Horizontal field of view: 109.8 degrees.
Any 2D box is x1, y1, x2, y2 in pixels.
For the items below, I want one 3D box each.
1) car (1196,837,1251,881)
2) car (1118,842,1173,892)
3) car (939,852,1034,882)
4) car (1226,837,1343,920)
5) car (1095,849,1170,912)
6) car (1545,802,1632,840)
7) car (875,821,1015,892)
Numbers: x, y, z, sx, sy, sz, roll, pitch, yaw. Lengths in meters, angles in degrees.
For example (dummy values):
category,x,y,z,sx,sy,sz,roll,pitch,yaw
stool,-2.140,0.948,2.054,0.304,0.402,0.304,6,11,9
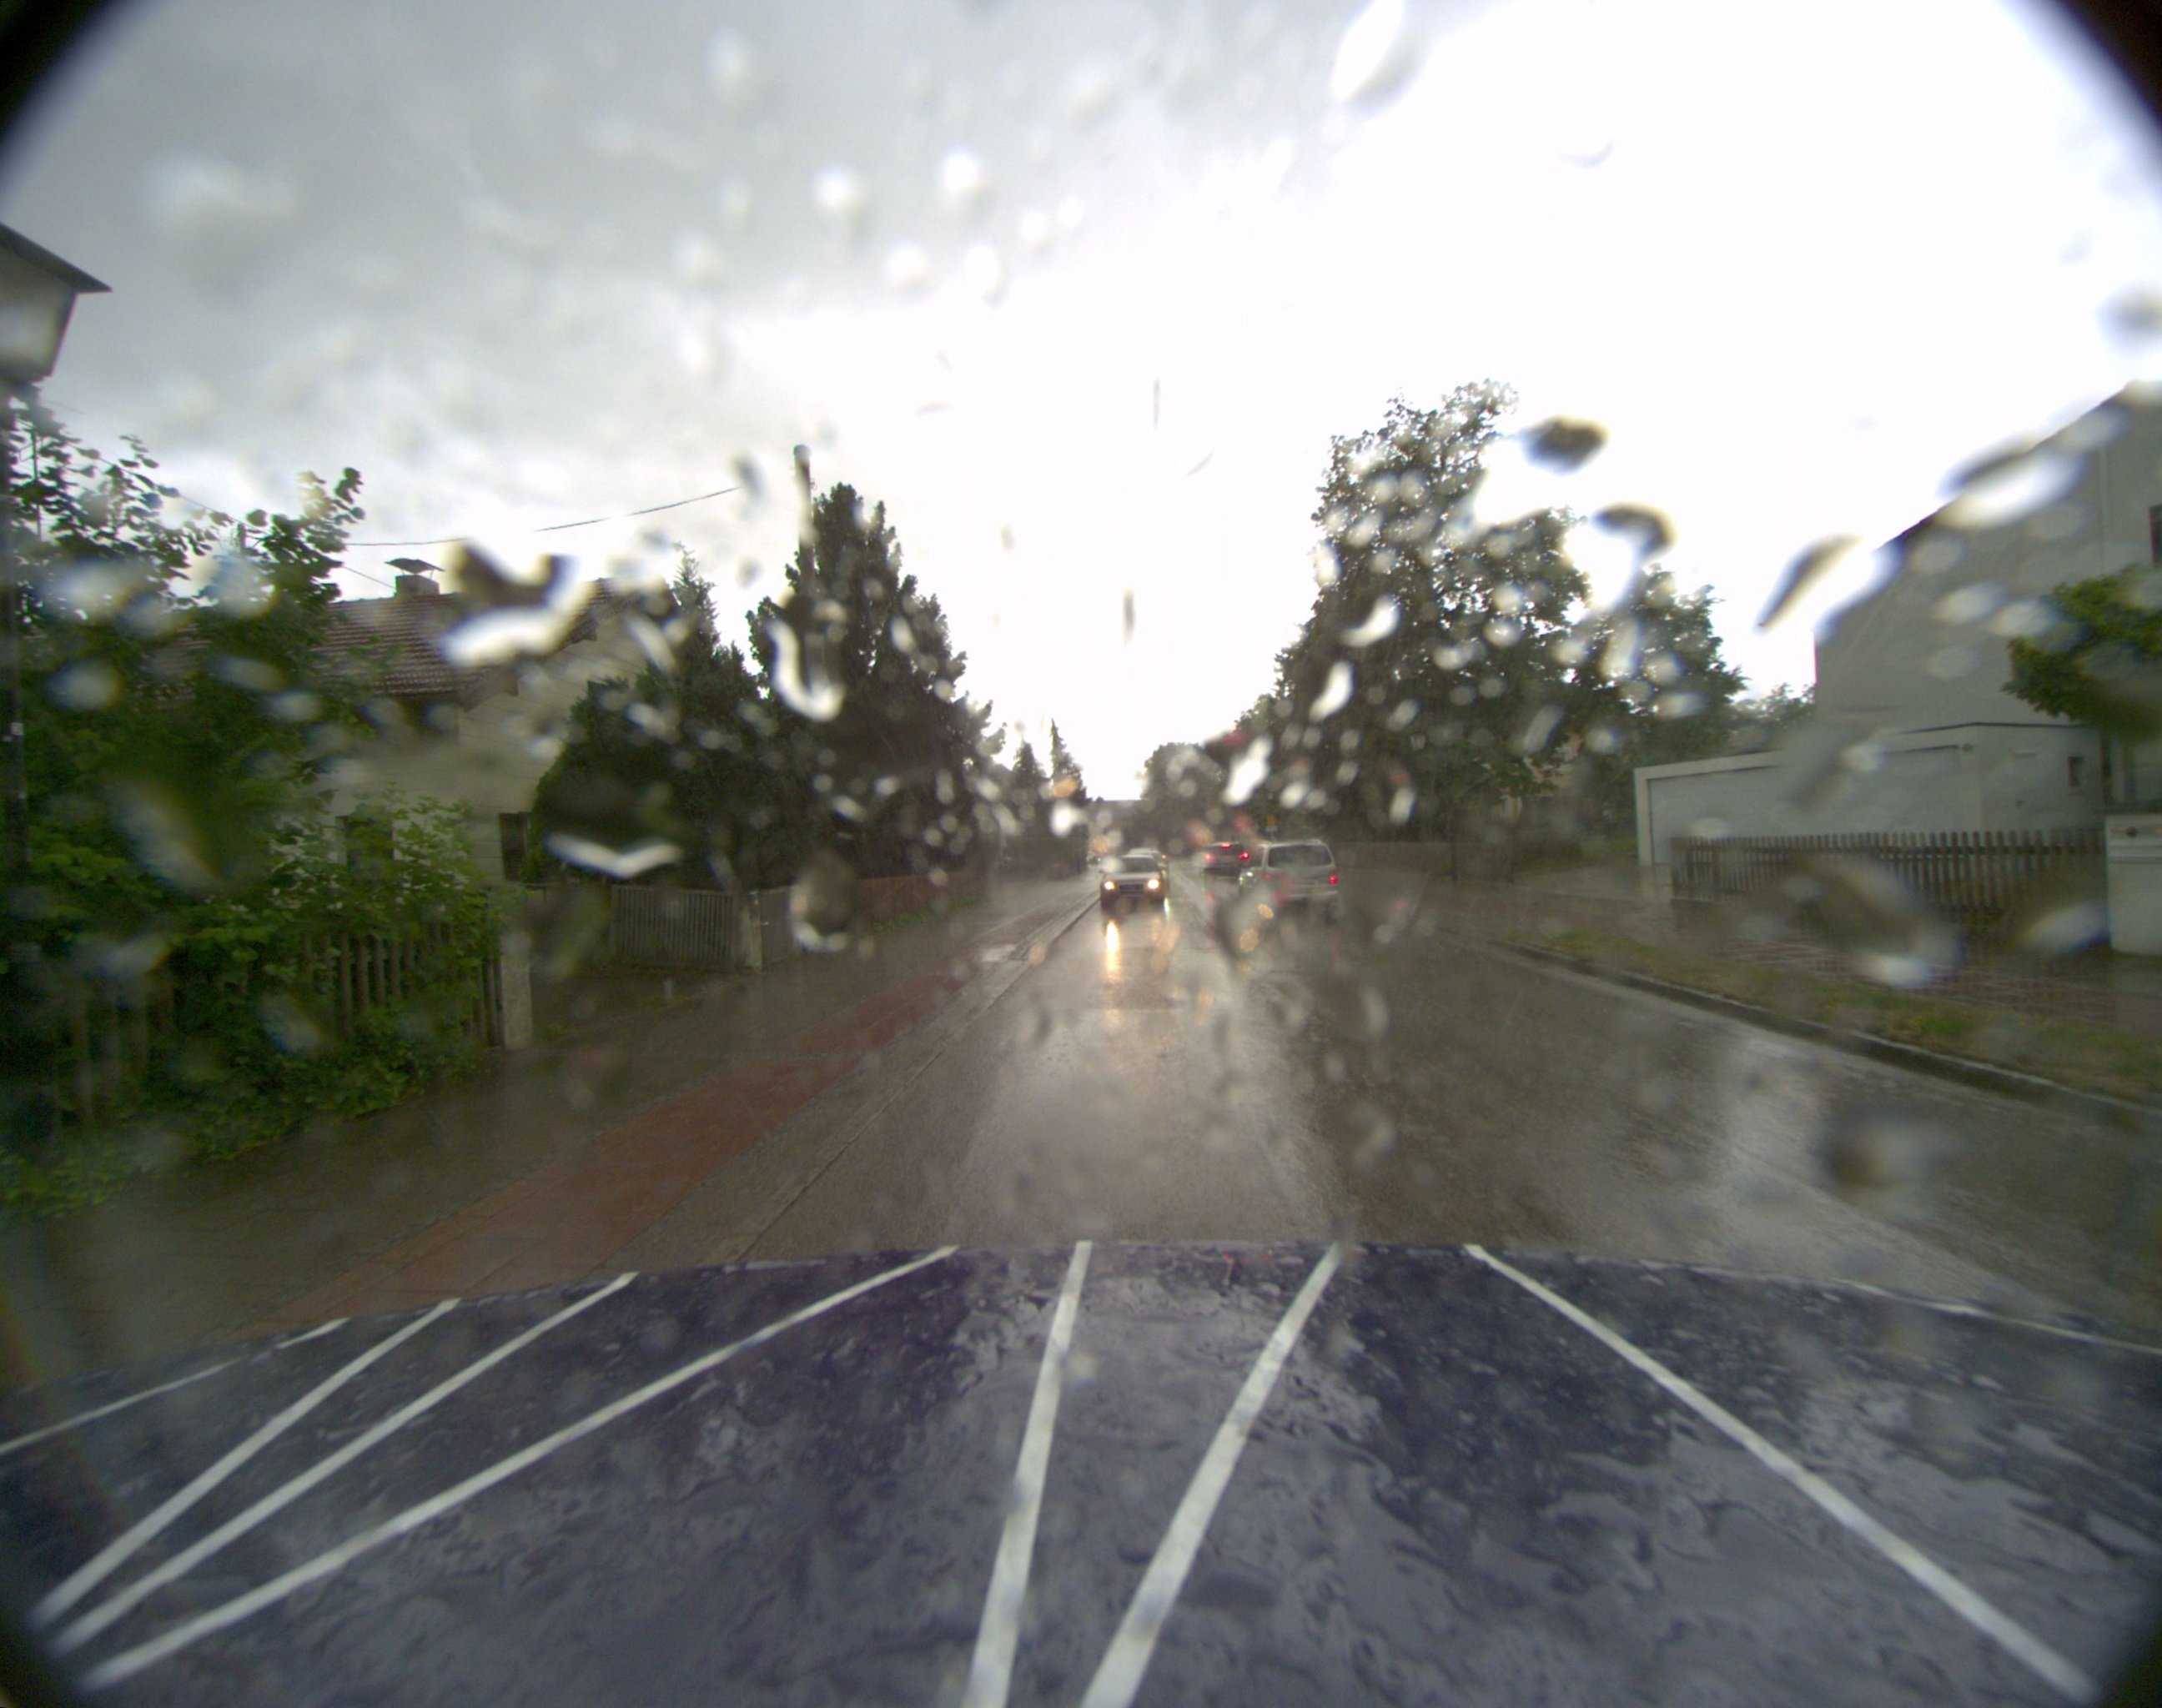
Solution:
category,x,y,z,sx,sy,sz,roll,pitch,yaw
car,6.123,0.176,33.029,1.926,1.734,4.193,-2,1,6
car,2.550,0.451,29.940,1.871,1.603,4.961,-4,1,5
car,-4.561,0.633,37.049,4.441,1.413,1.830,0,1,-2
car,4.549,0.481,17.582,1.757,1.668,4.000,-1,1,2
car,1.524,0.689,21.823,1.871,1.512,4.189,-3,1,5
car,29.259,-1.880,43.913,1.844,1.792,3.650,-6,0,-29
car,-5.336,0.092,30.393,5.319,2.712,1.999,0,1,-4
